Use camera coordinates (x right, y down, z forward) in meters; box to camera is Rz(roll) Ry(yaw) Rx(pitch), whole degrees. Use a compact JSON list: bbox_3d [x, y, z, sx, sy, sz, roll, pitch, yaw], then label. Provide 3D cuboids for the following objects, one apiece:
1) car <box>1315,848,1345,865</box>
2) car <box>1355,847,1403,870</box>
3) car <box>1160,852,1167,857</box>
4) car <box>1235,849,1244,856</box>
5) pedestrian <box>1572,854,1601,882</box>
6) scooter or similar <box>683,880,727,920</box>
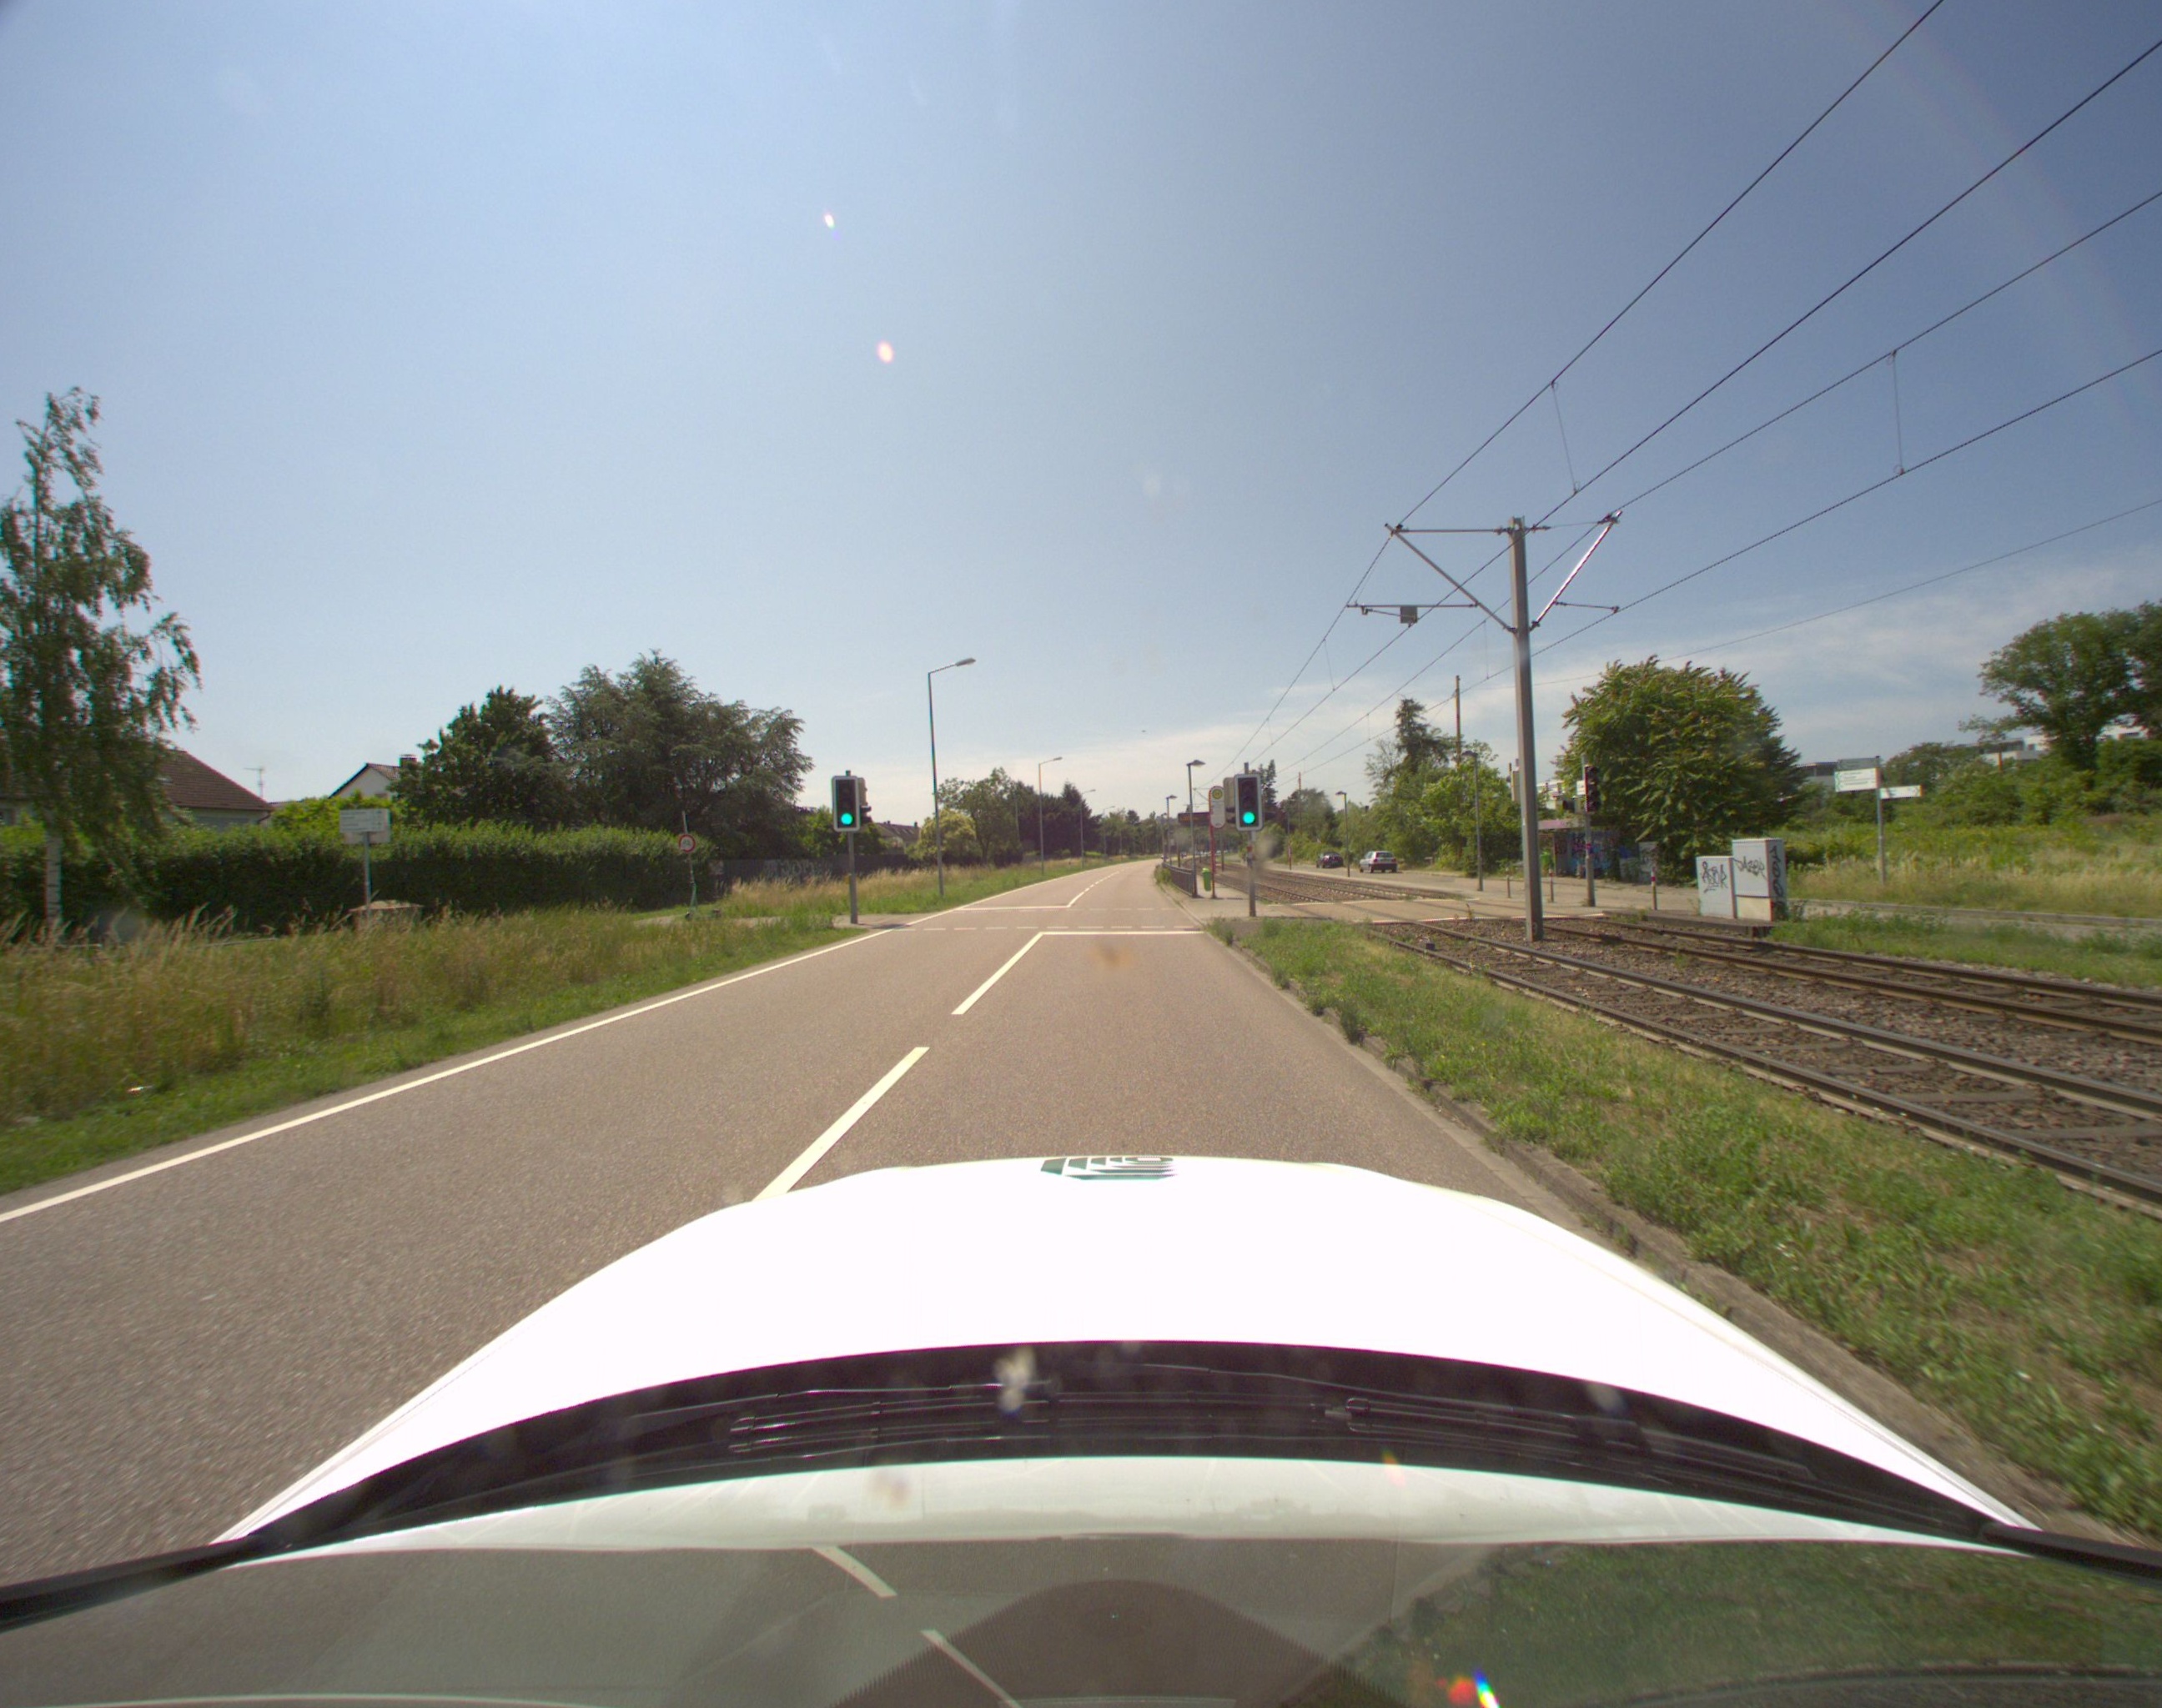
[{"bbox_3d":[22.030,0.258,72.227,1.612,1.422,4.880,-1,0,6],"label":"car"},{"bbox_3d":[19.518,0.284,53.460,1.930,1.422,4.005,-1,0,5],"label":"car"},{"bbox_3d":[22.051,0.112,217.542,1.697,1.404,4.717,-1,0,7],"label":"car"},{"bbox_3d":[34.036,-0.284,174.864,1.903,1.470,4.010,-1,0,9],"label":"car"},{"bbox_3d":[20.367,0.563,32.820,0.803,1.087,0.721,-2,0,12],"label":"pedestrian"},{"bbox_3d":[-11.250,1.361,24.393,1.017,1.128,0.647,-2,0,-7],"label":"scooter or similar"}]
